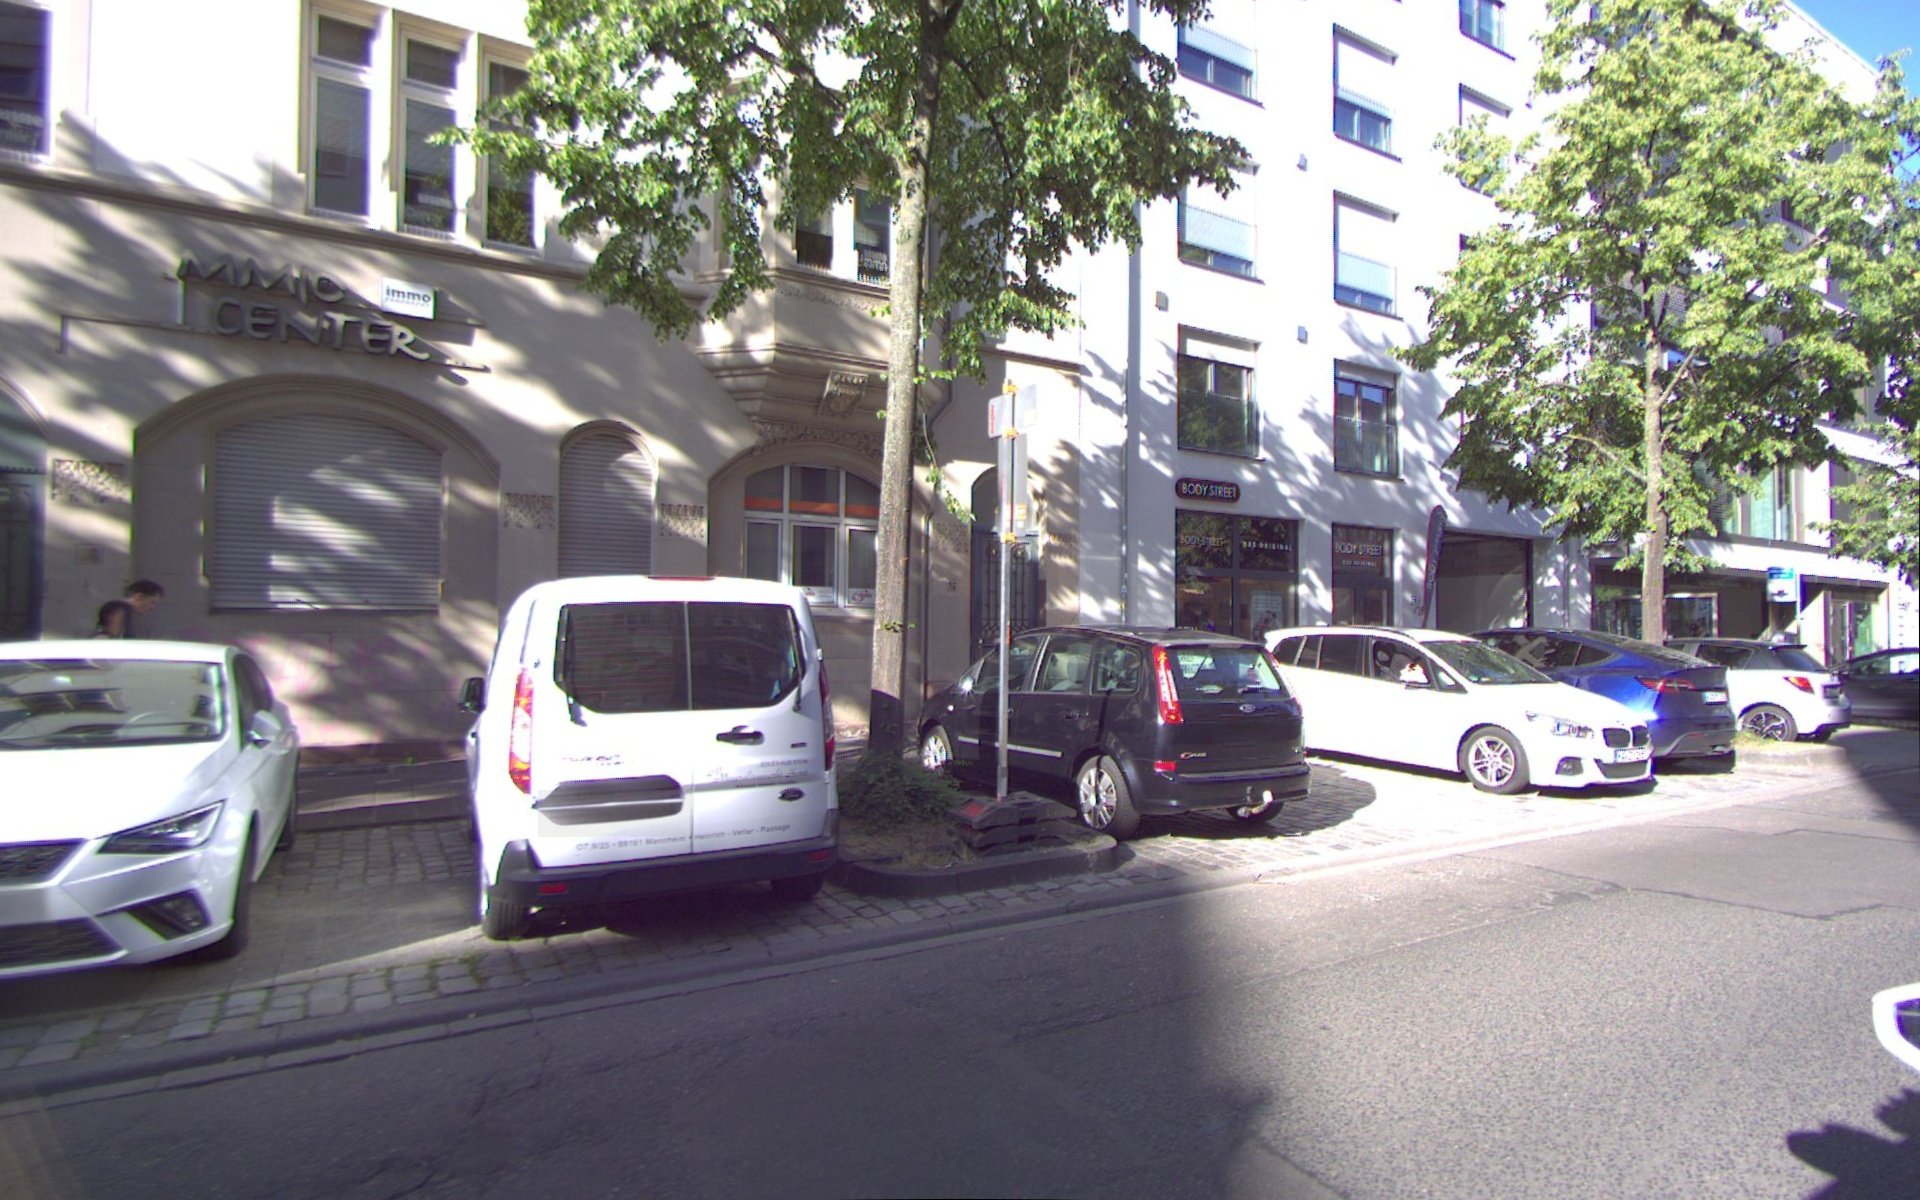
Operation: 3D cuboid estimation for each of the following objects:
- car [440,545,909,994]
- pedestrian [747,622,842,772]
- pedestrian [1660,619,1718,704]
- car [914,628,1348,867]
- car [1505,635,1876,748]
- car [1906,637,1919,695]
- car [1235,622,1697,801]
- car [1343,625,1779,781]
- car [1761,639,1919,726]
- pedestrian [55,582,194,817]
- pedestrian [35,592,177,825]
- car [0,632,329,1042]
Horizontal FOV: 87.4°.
[{"bbox_3d":[-2.130,0.753,6.460,2.014,1.860,4.087,1,-1,-29],"label":"car"},{"bbox_3d":[-1.763,1.000,10.709,0.832,1.514,0.590,1,1,-29],"label":"pedestrian"},{"bbox_3d":[16.041,1.336,22.112,0.733,1.821,0.699,0,-2,-19],"label":"pedestrian"},{"bbox_3d":[1.227,1.043,8.764,1.770,1.579,3.783,1,-2,-29],"label":"car"},{"bbox_3d":[11.014,1.277,15.459,1.959,1.478,4.220,1,-2,-33],"label":"car"},{"bbox_3d":[25.990,1.673,24.142,1.770,1.478,4.469,1,-1,-31],"label":"car"},{"bbox_3d":[5.377,1.075,11.333,1.923,1.591,4.347,1,-2,-29],"label":"car"},{"bbox_3d":[7.280,1.132,12.687,1.956,1.591,4.347,1,-2,-29],"label":"car"},{"bbox_3d":[17.068,1.457,18.148,1.764,1.478,3.753,1,-2,-37],"label":"car"},{"bbox_3d":[-6.830,0.770,8.255,0.755,1.790,0.770,1,2,-32],"label":"pedestrian"},{"bbox_3d":[-6.424,0.780,7.592,0.719,1.648,0.562,1,2,-32],"label":"pedestrian"},{"bbox_3d":[-4.632,0.937,5.416,1.864,1.483,3.962,1,-1,-29],"label":"car"}]
